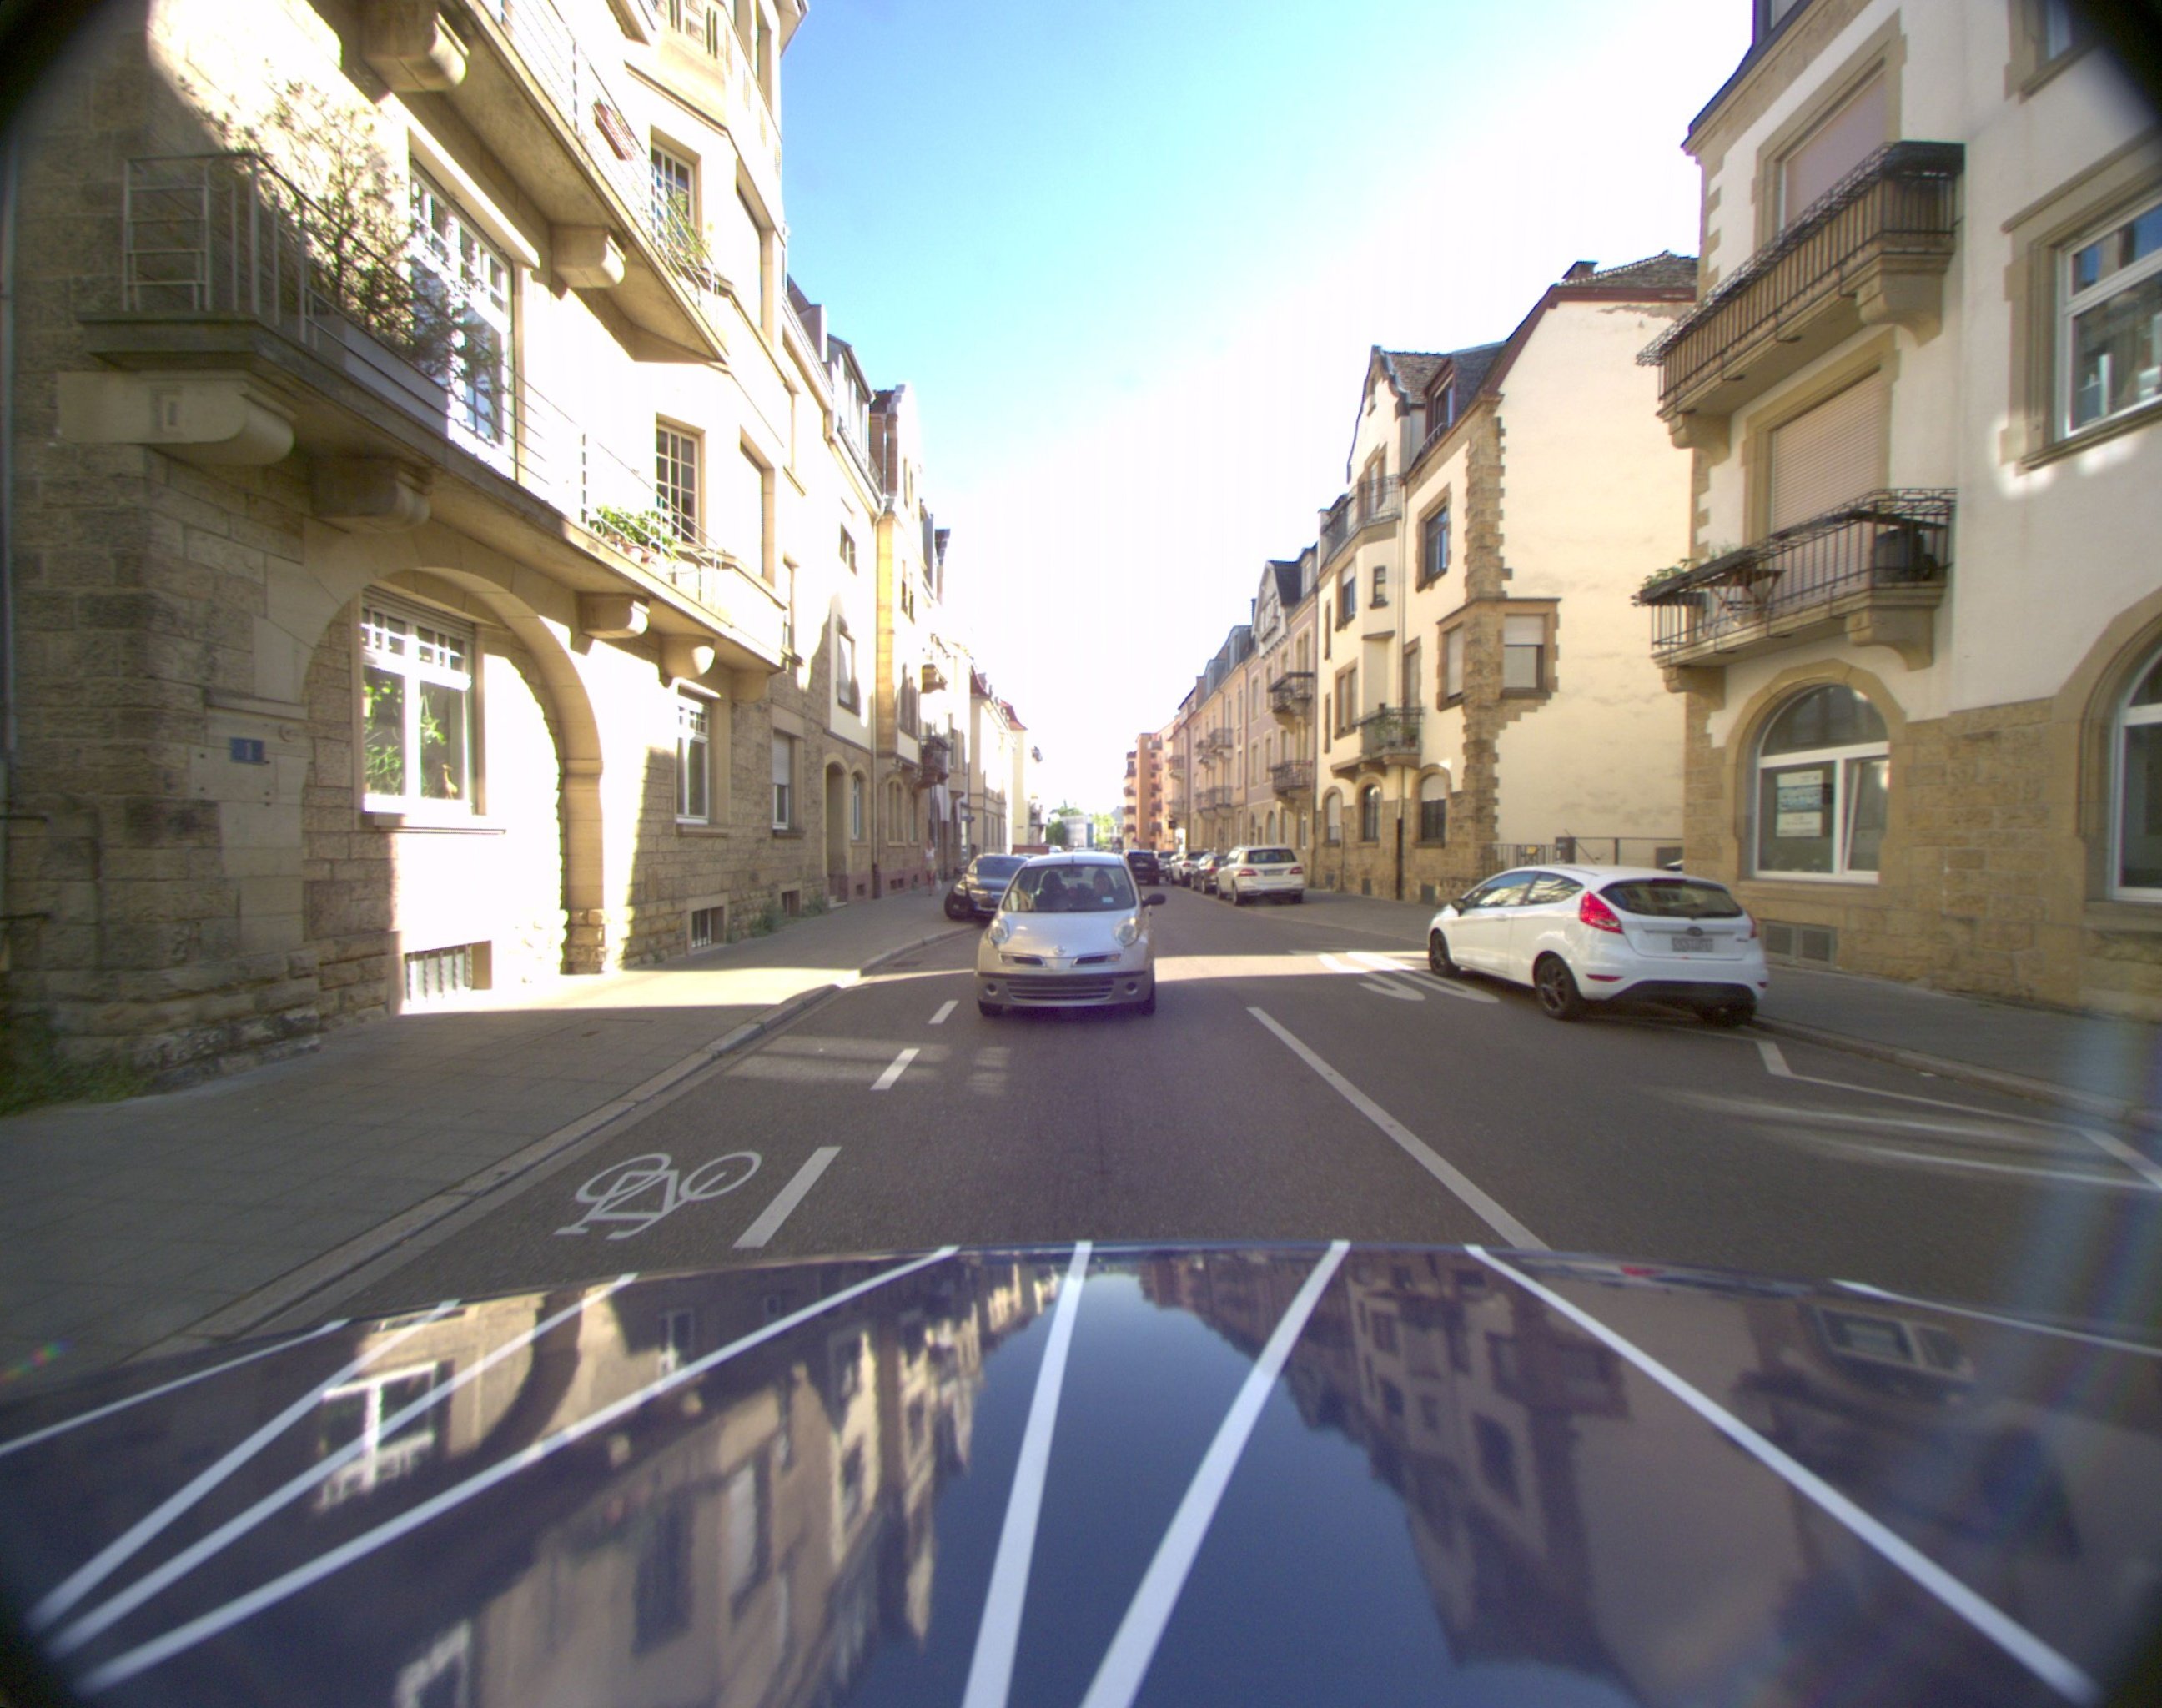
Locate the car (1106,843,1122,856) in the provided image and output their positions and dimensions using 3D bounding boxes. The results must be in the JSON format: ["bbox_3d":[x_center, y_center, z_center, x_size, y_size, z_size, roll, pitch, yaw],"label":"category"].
[{"bbox_3d":[4.734,-0.677,110.137,1.917,1.614,4.345,-3,1,-1],"label":"car"}]

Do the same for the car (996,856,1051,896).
[{"bbox_3d":[-2.123,0.794,28.807,1.833,1.337,3.819,-2,0,-2],"label":"car"}]

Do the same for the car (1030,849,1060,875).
[{"bbox_3d":[-2.323,0.517,50.120,1.833,1.586,3.819,-2,0,-2],"label":"car"}]

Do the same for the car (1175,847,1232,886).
[{"bbox_3d":[5.526,0.531,34.777,1.917,1.509,4.345,-3,1,1],"label":"car"}]

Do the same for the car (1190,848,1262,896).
[{"bbox_3d":[5.427,0.629,28.921,1.917,1.509,4.345,-3,1,1],"label":"car"}]

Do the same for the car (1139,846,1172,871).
[{"bbox_3d":[5.353,0.303,54.990,1.917,1.614,4.345,-3,1,1],"label":"car"}]

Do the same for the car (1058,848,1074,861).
[{"bbox_3d":[-1.969,0.012,102.185,1.877,1.657,3.999,-1,1,1],"label":"car"}]

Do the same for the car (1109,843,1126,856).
[{"bbox_3d":[4.952,-0.593,104.395,1.917,1.614,4.345,-3,1,-1],"label":"car"}]

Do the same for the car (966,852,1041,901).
[{"bbox_3d":[-2.348,0.656,24.007,1.833,1.337,4.000,-2,0,1],"label":"car"}]

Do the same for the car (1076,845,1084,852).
[{"bbox_3d":[-0.282,-1.309,181.184,1.877,1.657,3.999,-1,1,1],"label":"car"}]

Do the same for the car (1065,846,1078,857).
[{"bbox_3d":[-1.558,-0.382,125.747,1.877,1.657,3.999,-1,1,1],"label":"car"}]

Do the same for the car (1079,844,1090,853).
[{"bbox_3d":[0.712,-0.991,140.132,1.877,1.657,3.999,-1,1,1],"label":"car"}]

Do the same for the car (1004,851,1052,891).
[{"bbox_3d":[-2.247,0.689,32.962,1.833,1.586,3.819,-2,0,-2],"label":"car"}]

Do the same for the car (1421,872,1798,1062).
[{"bbox_3d":[5.167,0.978,8.076,1.556,1.403,3.571,2,1,2],"label":"car"}]

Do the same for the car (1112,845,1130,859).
[{"bbox_3d":[5.153,-0.300,98.782,1.917,1.614,4.345,-3,1,-1],"label":"car"}]

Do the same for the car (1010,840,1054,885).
[{"bbox_3d":[-2.339,0.401,37.431,1.833,2.023,3.819,-2,0,0],"label":"car"}]

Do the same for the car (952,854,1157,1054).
[{"bbox_3d":[-0.138,0.830,8.036,1.651,1.559,3.616,-1,1,2],"label":"car"}]

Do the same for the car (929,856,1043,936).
[{"bbox_3d":[-2.035,0.866,17.537,1.998,1.528,4.000,-2,0,1],"label":"car"}]

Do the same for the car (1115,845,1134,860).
[{"bbox_3d":[5.312,-0.225,93.831,1.917,1.614,4.345,-3,1,-1],"label":"car"}]

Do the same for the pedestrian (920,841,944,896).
[{"bbox_3d":[-4.743,0.458,24.196,0.578,1.712,0.697,1,1,1],"label":"pedestrian"}]

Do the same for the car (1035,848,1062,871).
[{"bbox_3d":[-2.369,0.383,56.044,1.833,1.586,3.819,-2,0,-2],"label":"car"}]

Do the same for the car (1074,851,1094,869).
[{"bbox_3d":[0.312,0.605,76.547,1.877,1.657,3.999,-1,1,1],"label":"car"}]

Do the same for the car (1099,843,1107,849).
[{"bbox_3d":[5.783,-2.194,203.602,1.917,1.614,4.345,-3,1,-1],"label":"car"}]

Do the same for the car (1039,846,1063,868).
[{"bbox_3d":[-2.424,0.241,62.473,1.833,1.649,3.819,-2,0,-2],"label":"car"}]

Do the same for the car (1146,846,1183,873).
[{"bbox_3d":[5.281,0.320,48.560,1.917,1.509,4.345,-3,1,1],"label":"car"}]

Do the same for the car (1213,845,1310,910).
[{"bbox_3d":[5.365,0.623,23.119,1.917,1.650,4.345,-3,1,1],"label":"car"}]

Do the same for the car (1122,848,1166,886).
[{"bbox_3d":[2.965,0.576,36.688,1.917,1.718,4.347,1,0,2],"label":"car"}]

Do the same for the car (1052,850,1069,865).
[{"bbox_3d":[-2.442,0.357,90.910,1.877,1.657,3.999,-1,1,1],"label":"car"}]
